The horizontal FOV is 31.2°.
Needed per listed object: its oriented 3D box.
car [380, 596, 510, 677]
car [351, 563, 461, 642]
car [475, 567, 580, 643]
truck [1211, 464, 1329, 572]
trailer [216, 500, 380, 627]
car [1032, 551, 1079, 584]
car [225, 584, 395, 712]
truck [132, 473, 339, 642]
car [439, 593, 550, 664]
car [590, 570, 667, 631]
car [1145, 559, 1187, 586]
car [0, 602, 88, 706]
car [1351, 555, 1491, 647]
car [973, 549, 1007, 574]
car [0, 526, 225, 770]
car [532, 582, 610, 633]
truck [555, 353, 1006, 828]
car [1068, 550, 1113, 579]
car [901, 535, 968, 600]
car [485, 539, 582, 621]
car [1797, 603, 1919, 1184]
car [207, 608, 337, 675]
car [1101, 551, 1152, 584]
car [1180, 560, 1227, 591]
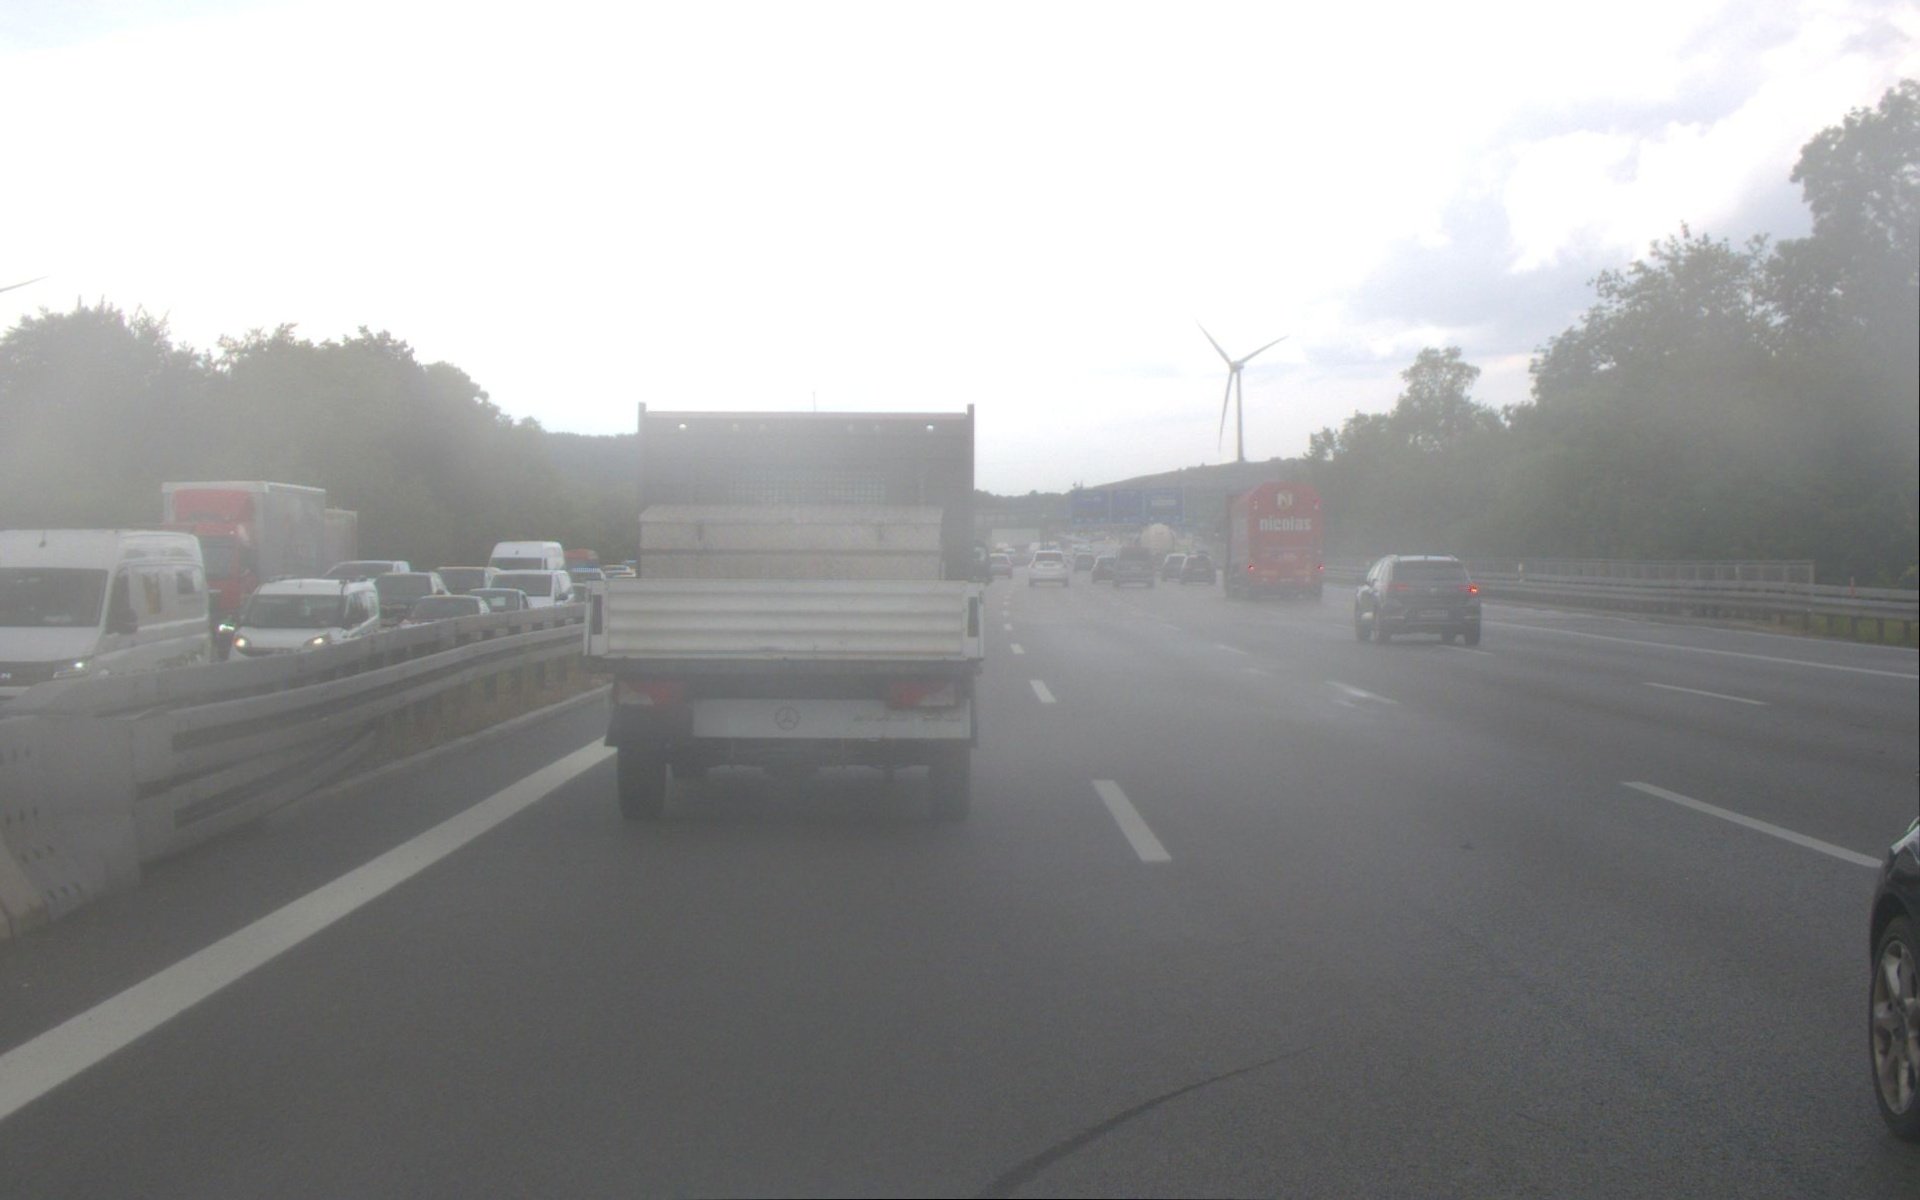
[{"bbox_3d":[-10.026,0.686,67.188,1.894,1.455,4.478,-1,1,-1],"label":"car"},{"bbox_3d":[-14.286,0.032,88.916,1.894,1.955,5.587,-1,1,0],"label":"car"},{"bbox_3d":[-10.684,0.083,85.273,1.894,1.794,5.842,-1,1,-1],"label":"car"},{"bbox_3d":[10.926,-2.923,122.445,3.152,3.589,12.700,1,1,1],"label":"truck"},{"bbox_3d":[-22.339,-1.248,116.823,3.008,4.018,13.139,-1,1,0],"label":"trailer"},{"bbox_3d":[4.672,-1.584,168.607,1.968,1.555,4.433,-1,1,-3],"label":"car"},{"bbox_3d":[-10.552,0.736,56.175,1.818,1.945,5.223,-1,1,-1],"label":"car"},{"bbox_3d":[-18.771,-1.101,89.948,2.798,4.098,12.295,-1,1,0],"label":"truck"},{"bbox_3d":[-10.389,0.623,77.006,1.894,1.483,4.478,-1,1,-1],"label":"car"},{"bbox_3d":[-10.214,-0.006,106.204,1.894,1.794,5.571,-1,1,-1],"label":"car"},{"bbox_3d":[12.132,-1.616,202.993,1.968,1.555,4.433,-1,1,-3],"label":"car"},{"bbox_3d":[-14.613,0.773,51.686,1.818,1.419,4.478,1,1,0],"label":"car"},{"bbox_3d":[8.067,-0.013,60.499,1.882,1.537,4.433,-1,1,0],"label":"car"},{"bbox_3d":[1.934,-2.529,225.243,1.968,1.555,4.433,-1,1,-3],"label":"car"},{"bbox_3d":[-10.642,0.497,41.522,2.024,2.669,7.311,-1,1,-1],"label":"car"},{"bbox_3d":[-10.352,0.176,91.633,1.621,1.292,4.251,-1,1,-1],"label":"car"},{"bbox_3d":[-0.973,-0.064,21.241,2.307,2.431,7.148,0,0,-1],"label":"truck"},{"bbox_3d":[7.102,-1.927,187.693,1.967,1.555,4.434,-1,1,-4],"label":"car"},{"bbox_3d":[-0.695,-0.882,90.907,1.717,1.618,4.279,0,2,-1],"label":"car"},{"bbox_3d":[-14.292,-0.685,115.593,2.127,2.627,7.609,-1,1,1],"label":"car"},{"bbox_3d":[3.213,0.724,7.444,1.717,1.412,4.278,0,0,-1],"label":"car"},{"bbox_3d":[-14.690,0.868,73.627,1.894,1.292,4.580,-1,1,-1],"label":"car"},{"bbox_3d":[7.974,-1.567,164.819,1.968,1.555,4.433,-1,1,-3],"label":"car"},{"bbox_3d":[12.726,-1.289,179.884,1.968,1.555,4.433,-1,1,-3],"label":"car"}]
